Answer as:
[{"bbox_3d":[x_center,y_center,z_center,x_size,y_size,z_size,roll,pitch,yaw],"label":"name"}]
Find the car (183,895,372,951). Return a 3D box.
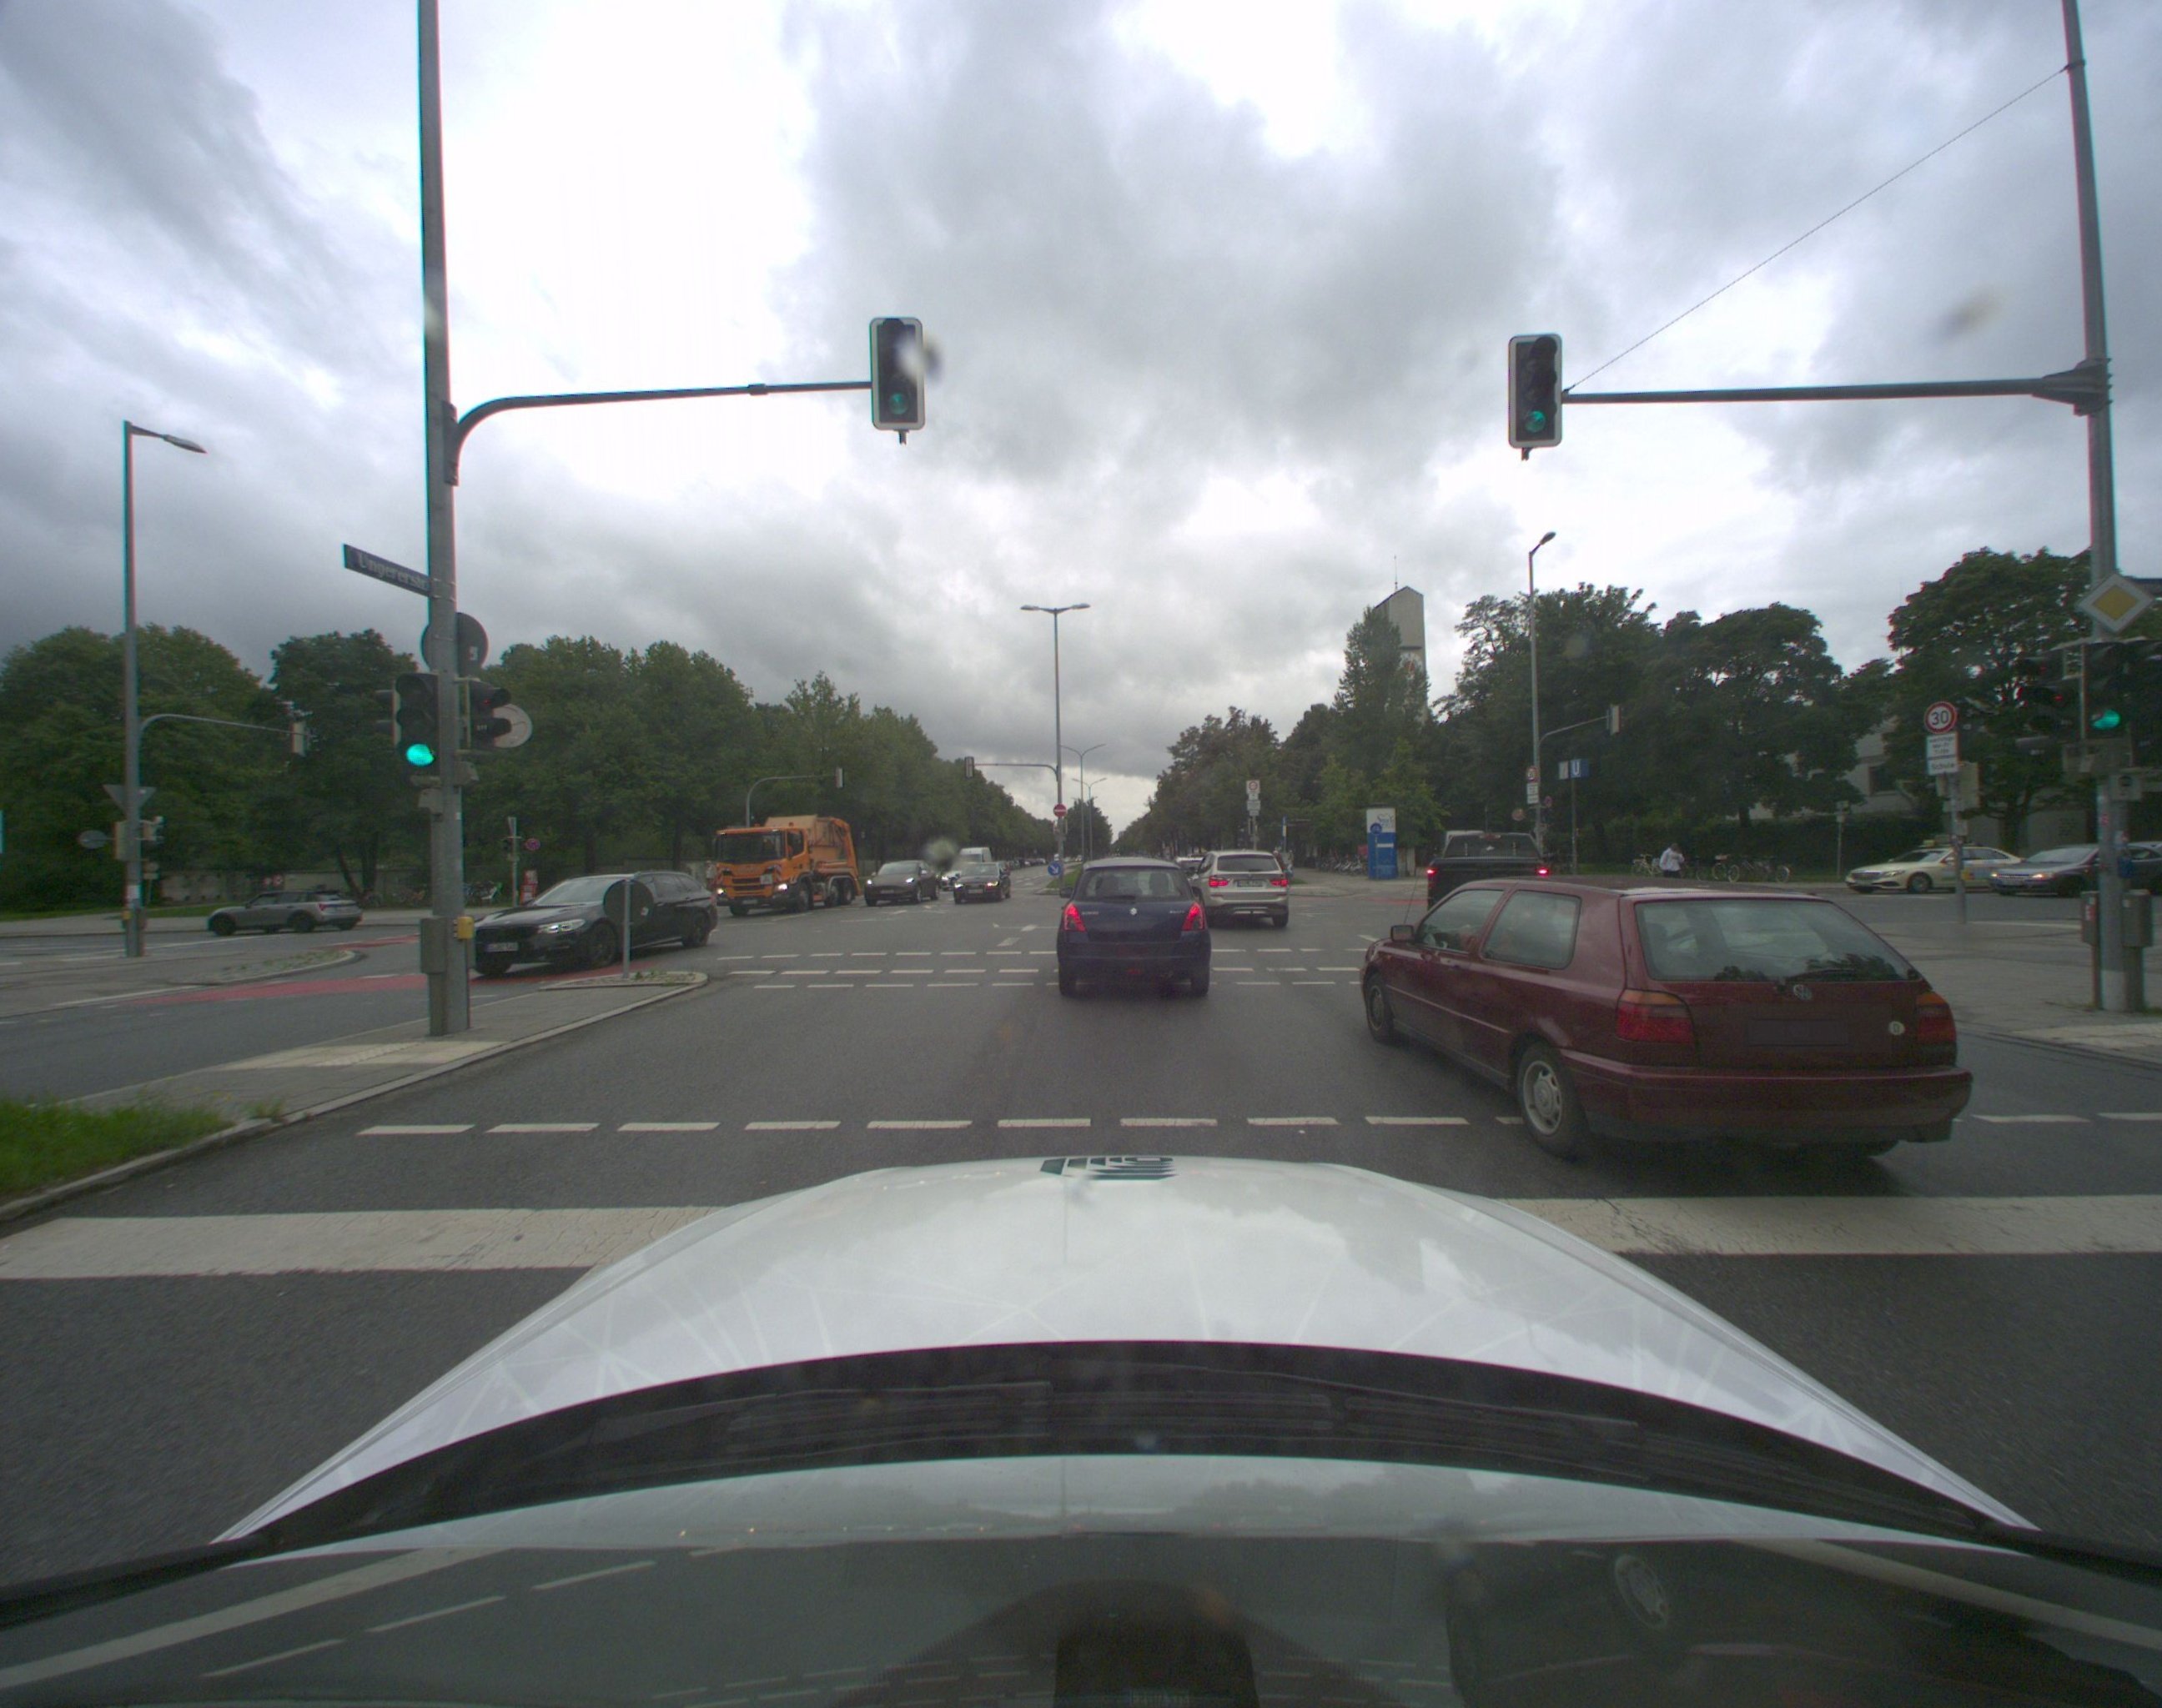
[{"bbox_3d":[-26.995,2.292,27.459,4.337,1.462,1.932,-3,0,-1],"label":"car"}]

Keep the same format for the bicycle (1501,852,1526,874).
[{"bbox_3d":[23.691,0.481,44.594,0.709,1.153,2.142,-2,0,42],"label":"bicycle"}]

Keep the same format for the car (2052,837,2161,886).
[{"bbox_3d":[33.536,0.200,25.677,3.925,1.454,1.627,-1,0,-1],"label":"car"}]

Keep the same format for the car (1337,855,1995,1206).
[{"bbox_3d":[3.096,0.758,5.431,1.616,1.454,3.951,-1,0,1],"label":"car"}]

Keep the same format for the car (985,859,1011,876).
[{"bbox_3d":[-7.866,1.239,77.688,1.736,1.452,4.659,-4,0,2],"label":"car"}]

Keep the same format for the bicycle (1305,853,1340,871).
[{"bbox_3d":[17.552,0.556,59.273,2.330,1.157,0.529,-4,0,1],"label":"bicycle"}]

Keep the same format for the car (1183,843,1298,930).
[{"bbox_3d":[3.504,0.673,18.682,1.844,1.743,4.097,-1,0,0],"label":"car"}]

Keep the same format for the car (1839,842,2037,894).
[{"bbox_3d":[26.775,0.423,25.544,4.288,1.497,1.886,-1,0,-2],"label":"car"}]

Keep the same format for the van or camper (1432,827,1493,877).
[{"bbox_3d":[19.179,-0.095,41.185,2.124,2.296,6.230,-1,0,19],"label":"van or camper"}]

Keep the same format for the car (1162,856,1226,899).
[{"bbox_3d":[4.132,0.819,30.368,1.844,1.447,4.097,-1,0,0],"label":"car"}]

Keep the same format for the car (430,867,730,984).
[{"bbox_3d":[-8.064,1.037,13.829,1.919,1.462,4.899,-3,0,1],"label":"car"}]

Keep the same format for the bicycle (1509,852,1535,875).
[{"bbox_3d":[23.262,0.479,42.902,0.709,1.153,2.142,-2,0,42],"label":"bicycle"}]

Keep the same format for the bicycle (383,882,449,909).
[{"bbox_3d":[-33.098,2.054,40.598,0.832,1.186,2.884,-1,0,1],"label":"bicycle"}]

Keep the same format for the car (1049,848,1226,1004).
[{"bbox_3d":[0.601,0.747,10.371,1.783,1.555,4.000,-1,0,0],"label":"car"}]

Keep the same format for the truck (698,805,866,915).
[{"bbox_3d":[-10.279,0.220,28.966,2.768,3.356,7.274,-1,-1,4],"label":"truck"}]

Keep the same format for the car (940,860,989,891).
[{"bbox_3d":[-6.212,1.113,43.942,1.720,1.487,4.746,-1,0,3],"label":"car"}]

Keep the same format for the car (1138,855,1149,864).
[{"bbox_3d":[11.664,0.941,152.250,1.758,1.651,4.426,-1,0,2],"label":"car"}]

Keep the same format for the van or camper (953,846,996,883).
[{"bbox_3d":[-8.446,0.821,65.131,2.170,2.647,6.953,-3,0,2],"label":"van or camper"}]

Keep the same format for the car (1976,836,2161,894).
[{"bbox_3d":[27.255,0.294,22.194,3.923,1.454,1.628,-1,0,1],"label":"car"}]

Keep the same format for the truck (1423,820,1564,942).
[{"bbox_3d":[8.360,0.444,16.443,2.079,2.013,5.848,-2,0,28],"label":"truck"}]

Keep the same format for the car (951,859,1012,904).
[{"bbox_3d":[-3.549,0.937,29.573,1.633,1.487,3.782,-1,0,1],"label":"car"}]

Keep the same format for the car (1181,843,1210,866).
[{"bbox_3d":[8.763,0.026,62.819,1.740,1.724,4.909,0,0,2],"label":"car"}]

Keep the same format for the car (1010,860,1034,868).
[{"bbox_3d":[-10.875,1.879,151.169,4.015,1.354,1.832,-1,0,-33],"label":"car"}]

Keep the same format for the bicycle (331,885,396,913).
[{"bbox_3d":[-34.010,2.094,38.647,0.832,1.186,2.496,-1,0,1],"label":"bicycle"}]

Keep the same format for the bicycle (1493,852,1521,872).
[{"bbox_3d":[25.236,0.481,48.202,2.140,1.153,0.710,-1,0,-42],"label":"bicycle"}]

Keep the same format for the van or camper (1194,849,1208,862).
[{"bbox_3d":[24.302,0.314,164.877,2.016,2.558,5.960,-2,0,2],"label":"van or camper"}]

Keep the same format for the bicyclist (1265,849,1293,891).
[{"bbox_3d":[8.403,0.664,34.532,0.831,1.764,0.739,-1,-1,-34],"label":"bicyclist"}]

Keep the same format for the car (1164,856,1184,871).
[{"bbox_3d":[9.806,1.001,86.261,1.711,1.508,4.225,-1,0,2],"label":"car"}]

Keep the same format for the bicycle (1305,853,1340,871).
[{"bbox_3d":[17.281,0.555,58.365,2.336,1.157,0.528,-4,0,-7],"label":"bicycle"}]

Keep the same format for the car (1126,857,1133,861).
[{"bbox_3d":[15.546,1.558,260.932,1.844,1.447,4.097,-1,0,0],"label":"car"}]

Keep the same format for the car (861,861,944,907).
[{"bbox_3d":[-6.646,1.082,30.860,1.855,1.542,4.752,-2,0,2],"label":"car"}]
